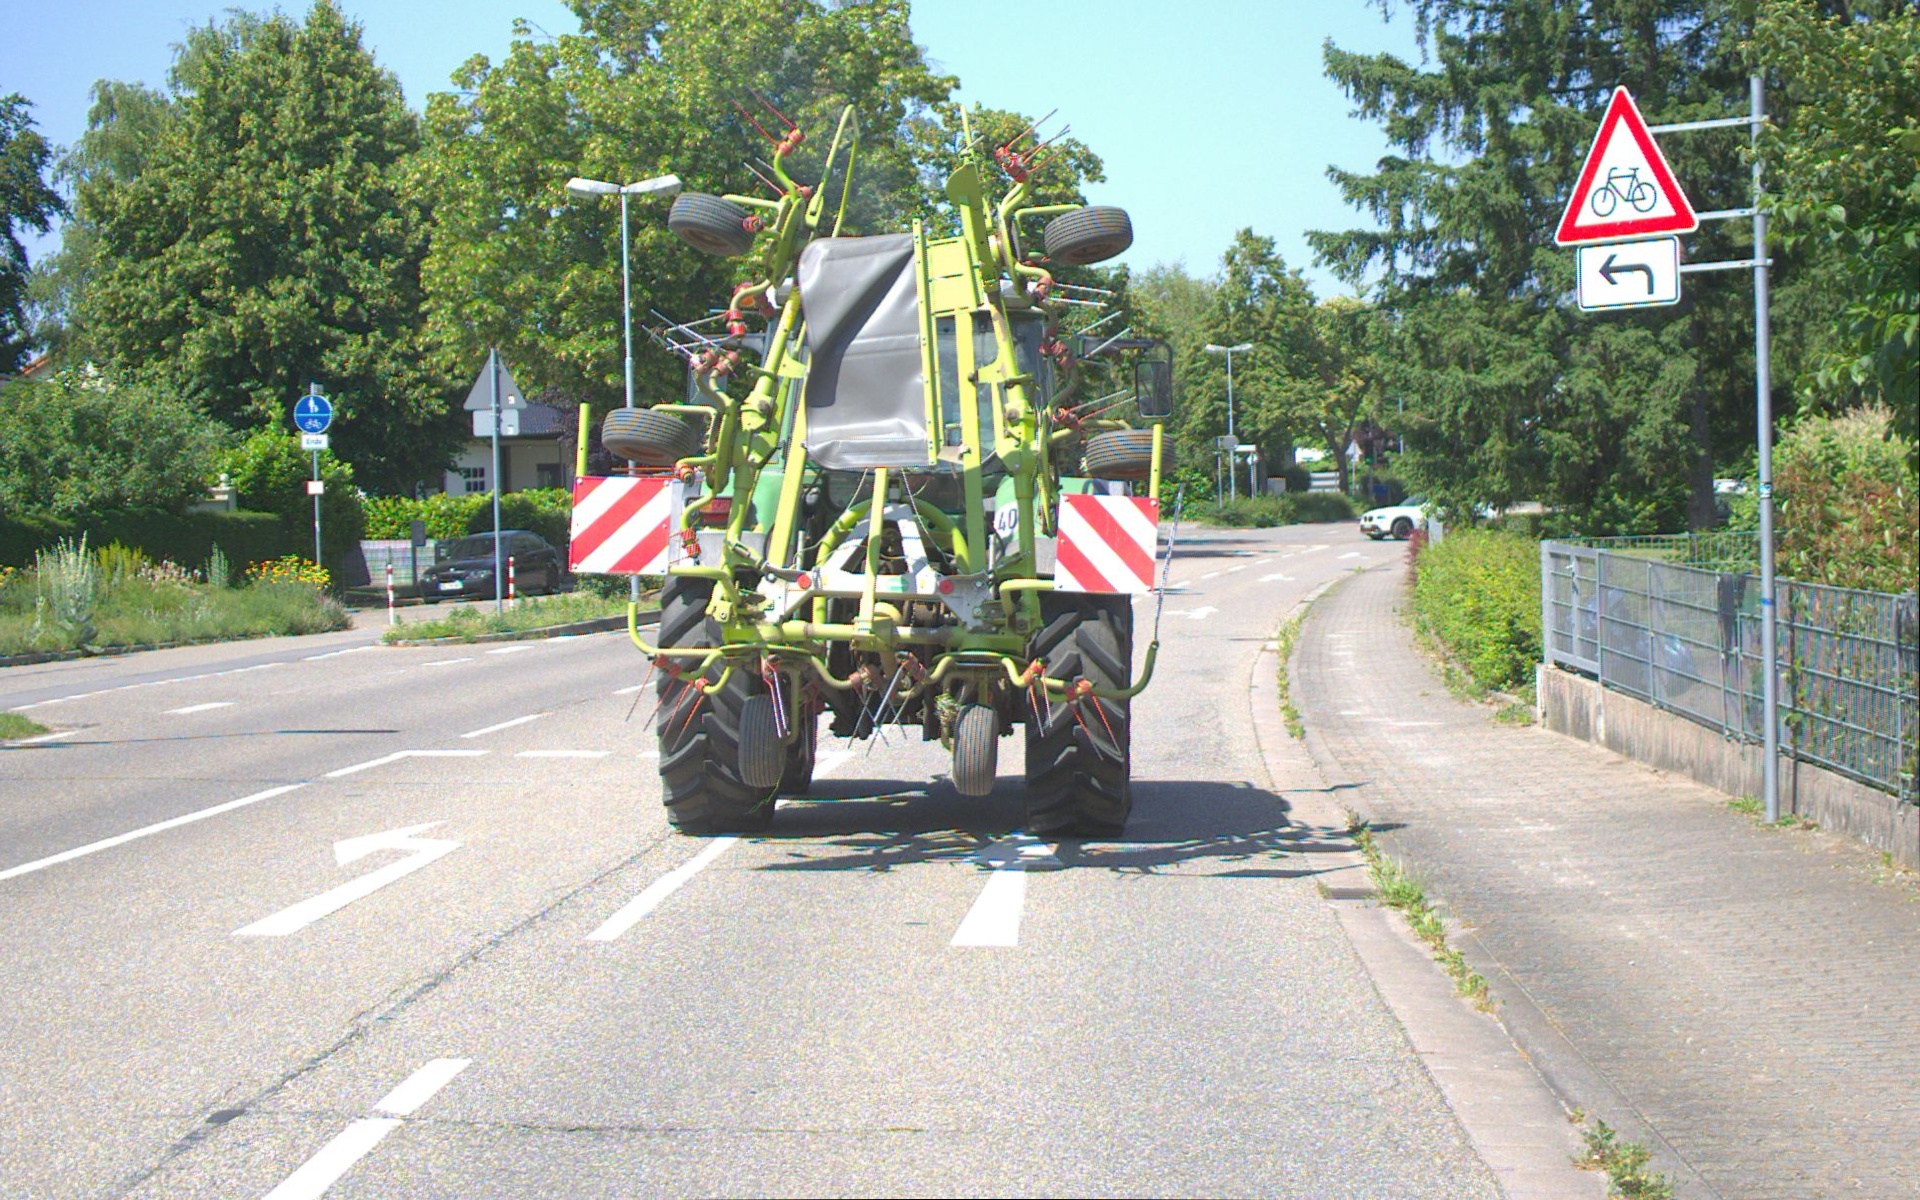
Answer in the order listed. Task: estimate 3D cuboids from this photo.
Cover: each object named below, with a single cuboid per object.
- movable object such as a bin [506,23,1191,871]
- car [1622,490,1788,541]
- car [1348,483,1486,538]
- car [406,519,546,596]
[{"bbox_3d":[-0.214,-0.748,19.274,2.853,3.529,9.700,0,1,3],"label":"movable object such as a bin"},{"bbox_3d":[19.036,-2.160,87.930,3.810,1.290,1.684,0,2,-7],"label":"car"},{"bbox_3d":[14.464,-2.829,108.739,3.986,1.709,1.863,-1,2,-28],"label":"car"},{"bbox_3d":[-9.945,-0.900,70.902,1.689,1.525,3.998,0,2,10],"label":"car"}]
